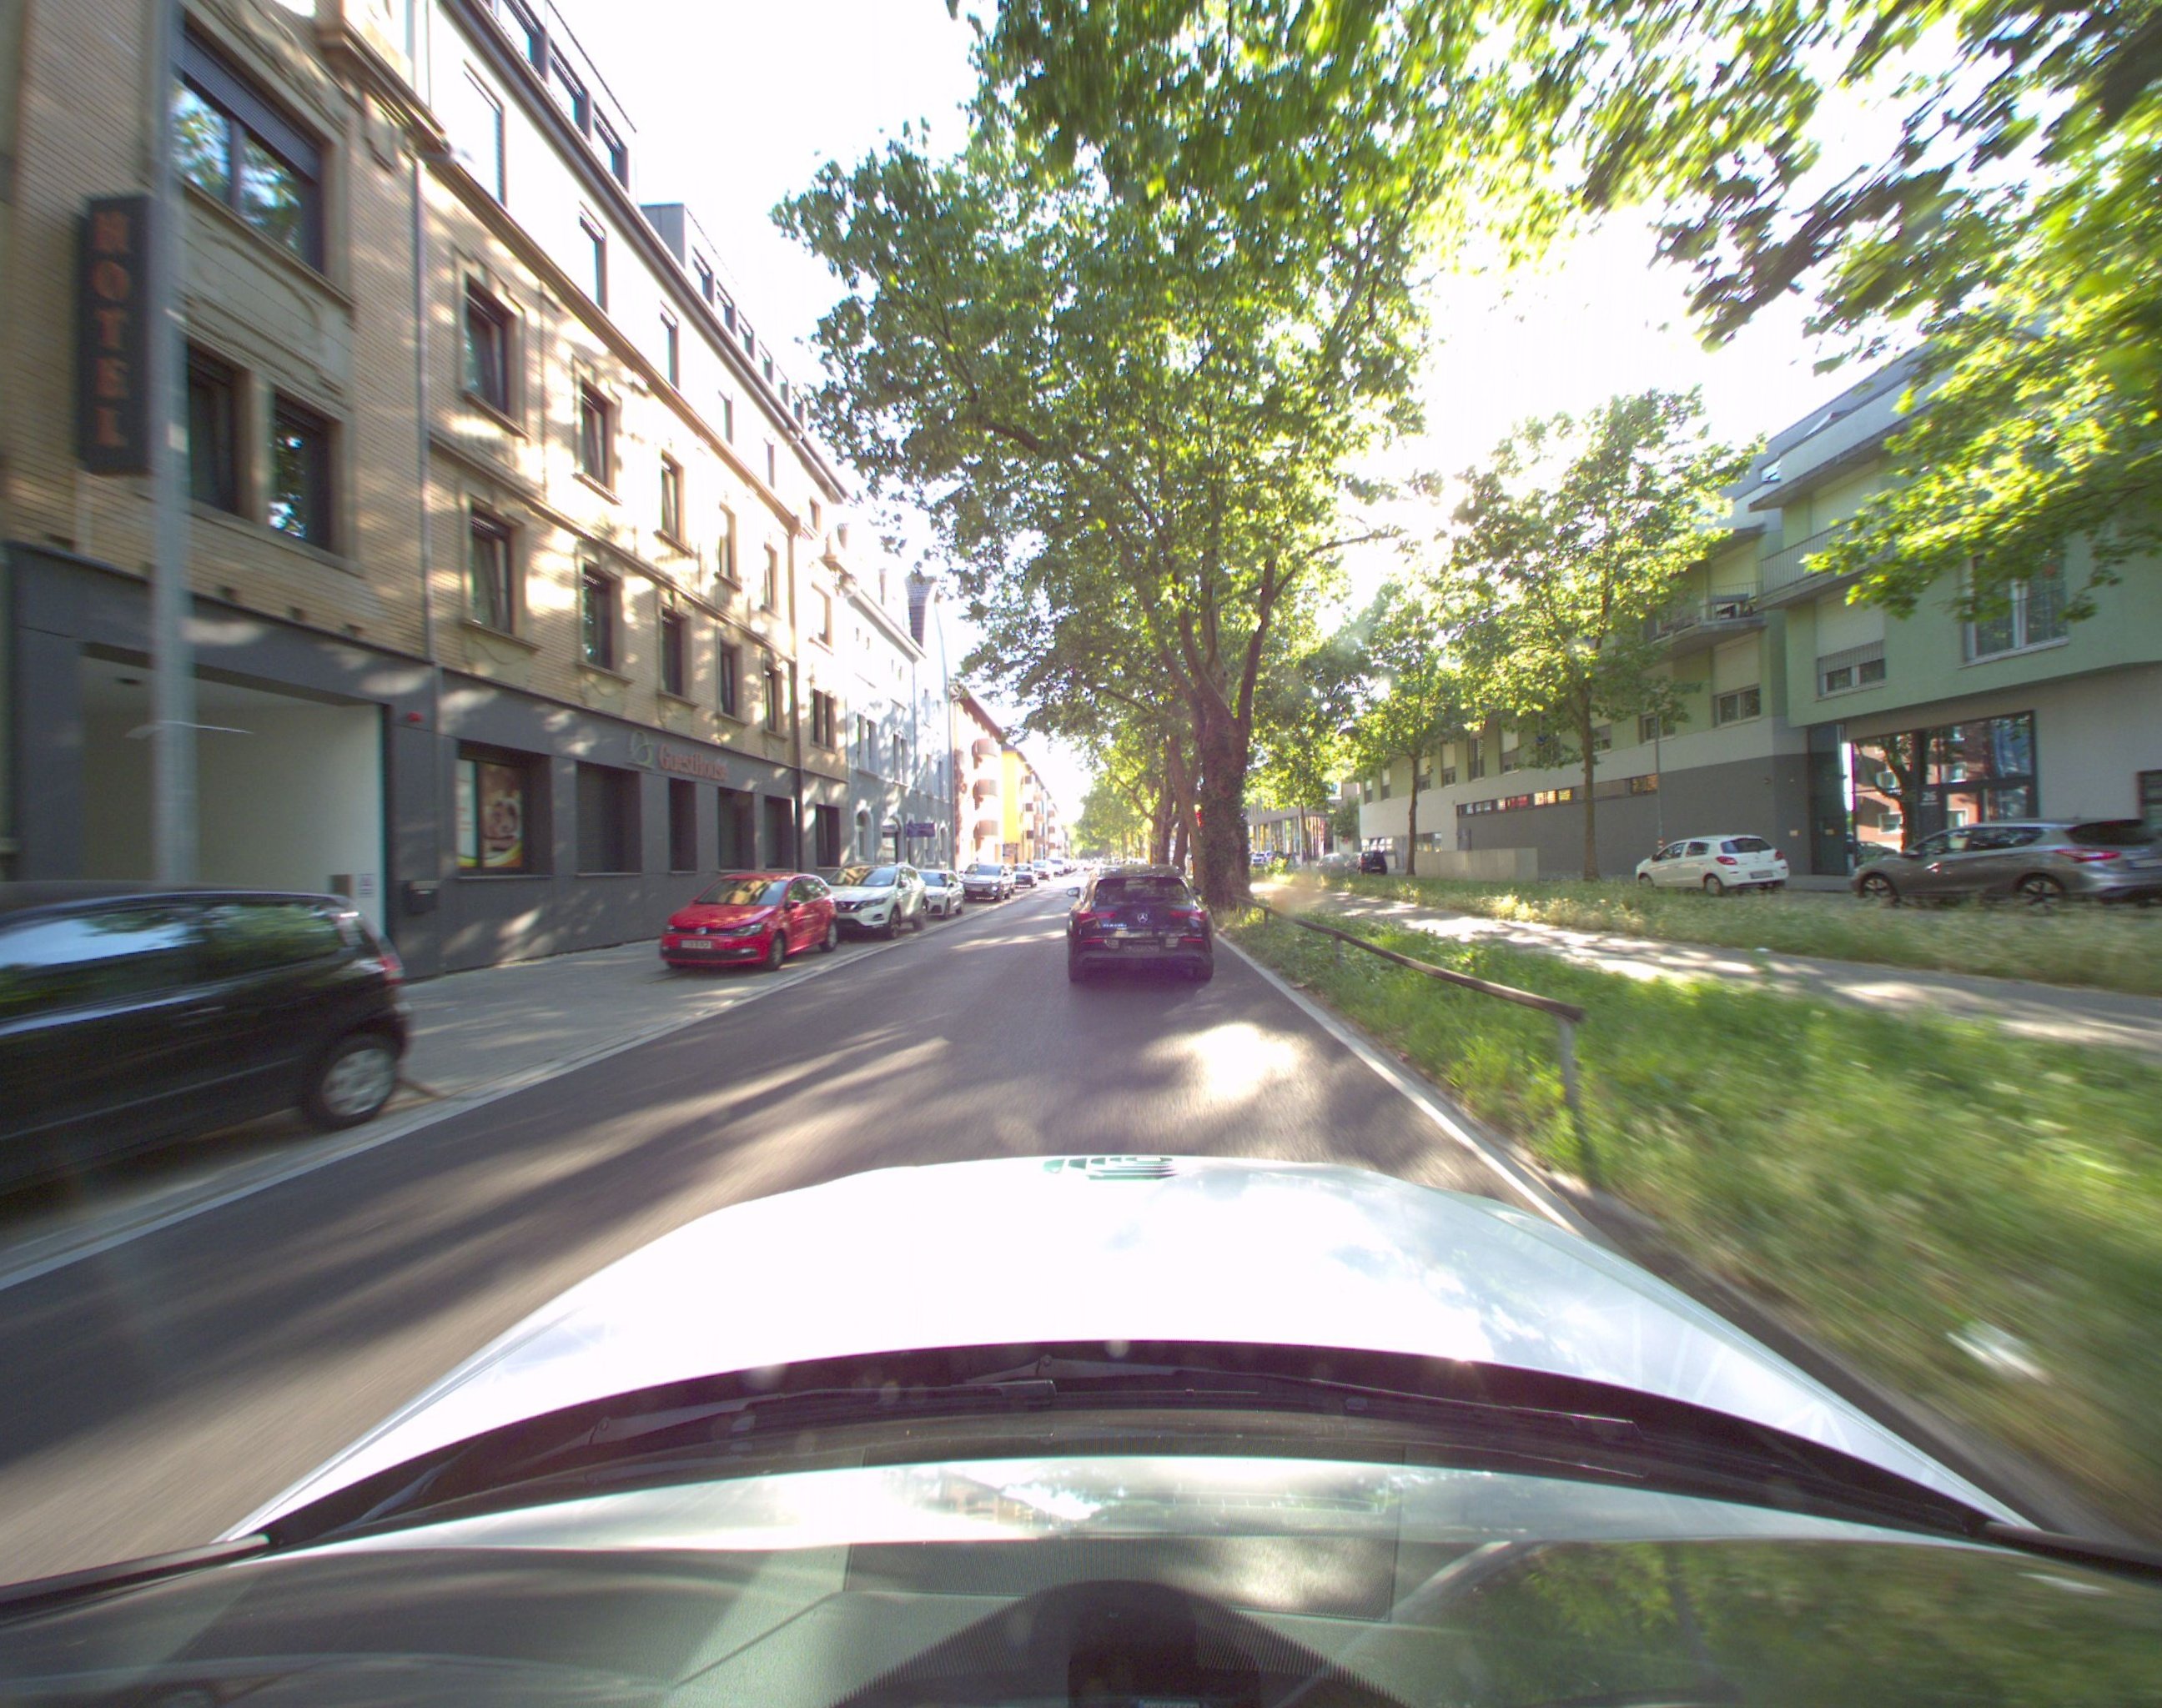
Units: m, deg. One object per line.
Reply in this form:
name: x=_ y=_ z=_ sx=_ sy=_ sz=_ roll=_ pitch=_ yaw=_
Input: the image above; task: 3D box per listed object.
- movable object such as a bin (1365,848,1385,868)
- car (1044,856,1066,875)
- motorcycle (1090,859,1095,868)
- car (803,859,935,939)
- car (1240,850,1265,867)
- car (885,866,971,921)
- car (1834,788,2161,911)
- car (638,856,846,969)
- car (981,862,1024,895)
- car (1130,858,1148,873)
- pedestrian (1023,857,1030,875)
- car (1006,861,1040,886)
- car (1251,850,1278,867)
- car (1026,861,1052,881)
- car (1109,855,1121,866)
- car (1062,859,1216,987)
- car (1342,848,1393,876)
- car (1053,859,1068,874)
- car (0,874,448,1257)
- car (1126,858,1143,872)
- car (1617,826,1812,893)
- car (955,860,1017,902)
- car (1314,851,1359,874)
movable object such as a bin: x=22.407 y=0.268 z=62.074 sx=1.185 sy=1.463 sz=1.412 roll=-2 pitch=-1 yaw=13
car: x=-2.658 y=1.190 z=84.349 sx=1.727 sy=1.907 sz=5.213 roll=-1 pitch=0 yaw=3
motorcycle: x=1.538 y=1.264 z=111.812 sx=0.545 sy=1.241 sz=2.264 roll=-4 pitch=-1 yaw=1
car: x=-4.612 y=0.905 z=18.340 sx=1.671 sy=1.585 sz=4.203 roll=0 pitch=0 yaw=3
car: x=19.116 y=0.509 z=90.837 sx=1.870 sy=1.733 sz=4.178 roll=-2 pitch=0 yaw=-1
car: x=-4.532 y=1.134 z=24.638 sx=1.671 sy=1.496 sz=3.874 roll=0 pitch=0 yaw=3
car: x=15.969 y=-0.073 z=14.105 sx=1.897 sy=1.771 sz=4.322 roll=-2 pitch=0 yaw=2
car: x=-5.316 y=0.830 z=13.342 sx=1.671 sy=1.592 sz=3.759 roll=0 pitch=0 yaw=3
car: x=-4.120 y=1.249 z=43.295 sx=1.671 sy=1.641 sz=3.988 roll=0 pitch=0 yaw=3
car: x=6.232 y=1.269 z=88.305 sx=1.630 sy=1.468 sz=4.020 roll=-3 pitch=-1 yaw=0
pedestrian: x=-5.584 y=1.234 z=83.502 sx=0.585 sy=1.790 sz=0.642 roll=-2 pitch=-1 yaw=2
car: x=-3.616 y=1.211 z=51.348 sx=1.671 sy=1.486 sz=3.604 roll=0 pitch=0 yaw=3
car: x=20.359 y=0.481 z=90.587 sx=1.980 sy=1.733 sz=4.178 roll=-2 pitch=0 yaw=-1
car: x=-3.265 y=1.318 z=64.049 sx=1.671 sy=1.524 sz=4.024 roll=0 pitch=0 yaw=3
car: x=6.654 y=1.309 z=161.448 sx=1.989 sy=2.014 sz=3.996 roll=-1 pitch=-2 yaw=-2
car: x=0.698 y=0.795 z=11.220 sx=1.738 sy=1.443 sz=3.969 roll=0 pitch=0 yaw=1
car: x=17.506 y=0.488 z=49.942 sx=1.852 sy=1.552 sz=3.761 roll=-2 pitch=0 yaw=2
car: x=-2.417 y=1.497 z=97.264 sx=1.739 sy=1.787 sz=4.548 roll=0 pitch=0 yaw=0
car: x=-5.443 y=0.934 z=3.926 sx=1.670 sy=1.605 sz=3.710 roll=0 pitch=0 yaw=5
car: x=6.203 y=1.295 z=95.187 sx=1.803 sy=1.539 sz=4.585 roll=-4 pitch=-1 yaw=2
car: x=16.512 y=0.142 z=21.563 sx=1.852 sy=1.543 sz=4.322 roll=-2 pitch=0 yaw=2
car: x=-4.023 y=1.104 z=35.080 sx=1.900 sy=1.641 sz=4.581 roll=0 pitch=0 yaw=3
car: x=17.706 y=0.565 z=56.604 sx=1.853 sy=1.468 sz=4.123 roll=-2 pitch=0 yaw=0
